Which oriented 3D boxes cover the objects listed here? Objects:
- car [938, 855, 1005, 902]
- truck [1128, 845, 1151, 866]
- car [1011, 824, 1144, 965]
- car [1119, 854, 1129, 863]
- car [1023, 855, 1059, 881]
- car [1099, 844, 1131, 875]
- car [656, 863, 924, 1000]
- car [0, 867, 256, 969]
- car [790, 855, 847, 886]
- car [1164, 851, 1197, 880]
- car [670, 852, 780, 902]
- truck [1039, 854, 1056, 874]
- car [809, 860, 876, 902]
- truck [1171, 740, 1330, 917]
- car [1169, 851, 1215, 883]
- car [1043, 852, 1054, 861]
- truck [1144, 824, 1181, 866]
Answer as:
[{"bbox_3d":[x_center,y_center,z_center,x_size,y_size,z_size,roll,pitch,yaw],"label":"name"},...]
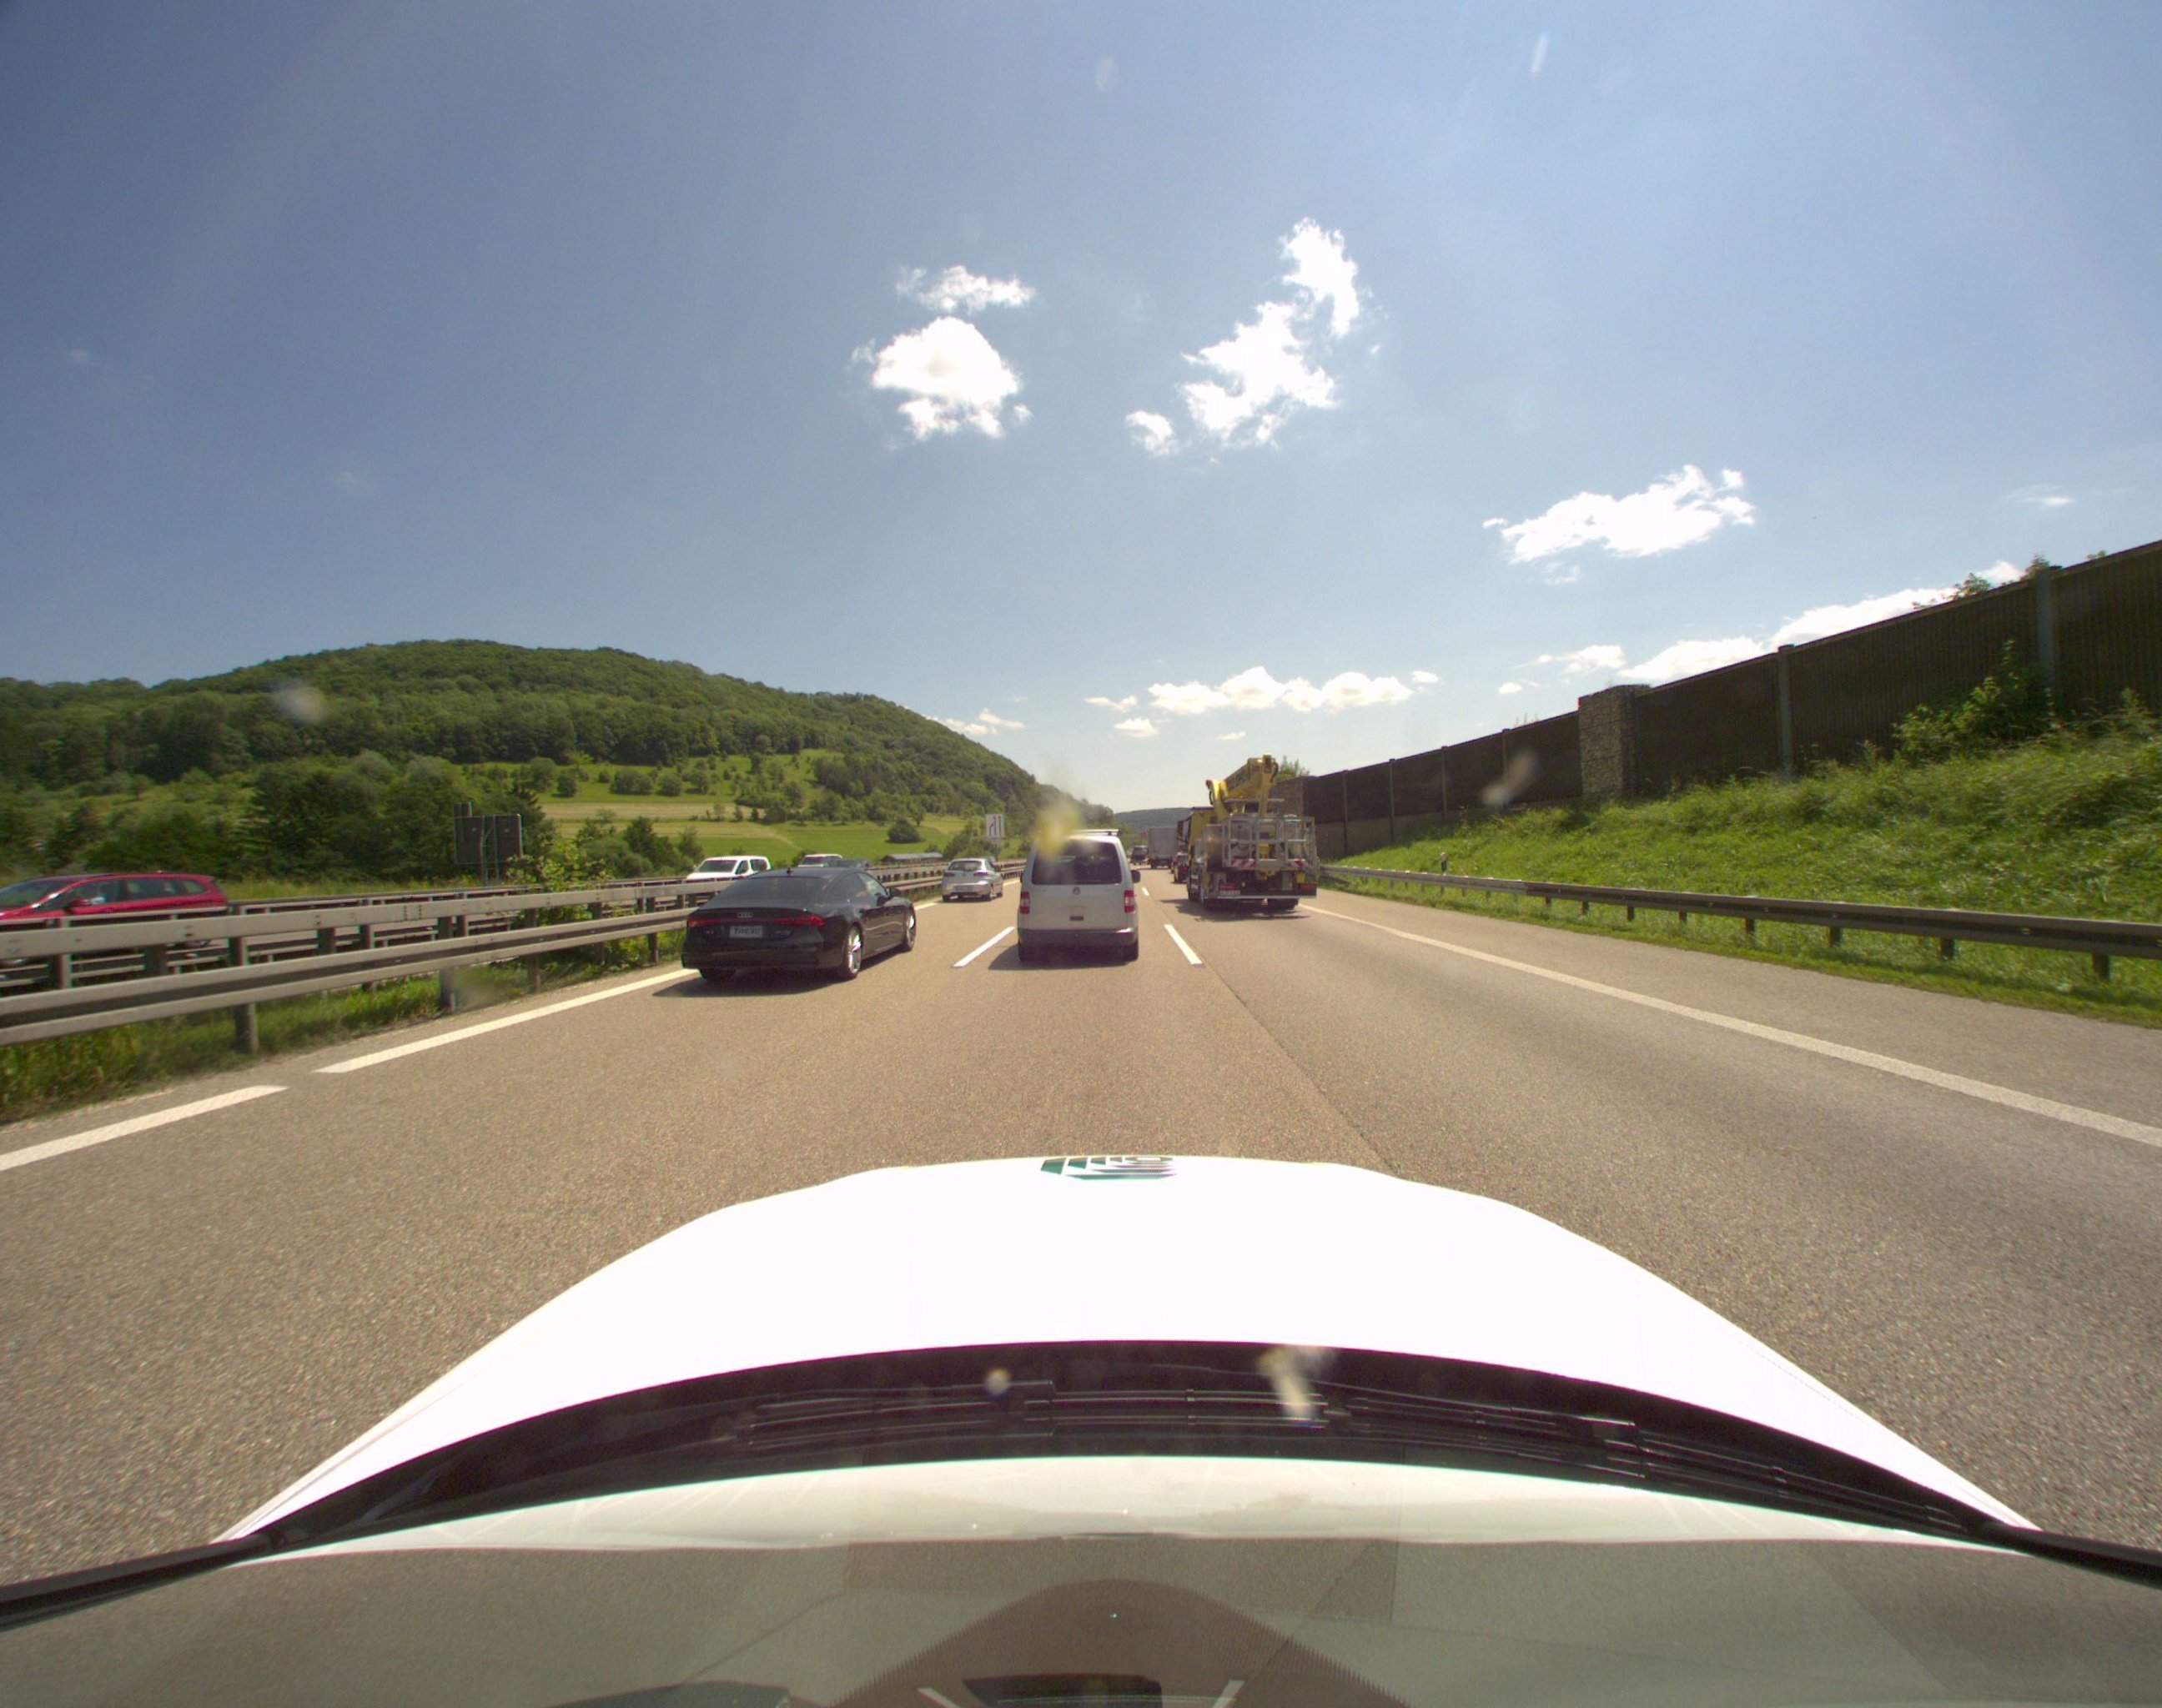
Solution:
[{"bbox_3d":[-3.687,0.797,28.089,1.690,1.445,3.863,-1,0,1],"label":"car"},{"bbox_3d":[7.392,0.203,102.414,2.377,2.541,5.952,-1,0,7],"label":"truck"},{"bbox_3d":[-0.018,0.546,13.036,1.750,1.868,4.000,-1,0,1],"label":"car"},{"bbox_3d":[8.849,0.992,167.603,1.986,1.805,4.002,0,-1,2],"label":"car"},{"bbox_3d":[-2.416,0.796,49.604,1.918,1.499,4.000,-1,0,1],"label":"car"},{"bbox_3d":[2.292,0.369,55.750,1.987,1.975,4.000,-1,0,1],"label":"car"},{"bbox_3d":[-3.633,0.866,11.306,1.794,1.390,4.971,-1,0,1],"label":"car"},{"bbox_3d":[-18.990,1.121,15.508,1.818,1.644,4.547,-1,0,2],"label":"car"},{"bbox_3d":[-17.253,1.040,53.709,2.052,1.941,4.662,-1,0,2],"label":"car"},{"bbox_3d":[7.237,0.813,59.544,1.986,2.013,4.002,-1,0,2],"label":"car"},{"bbox_3d":[-14.320,0.863,33.136,1.986,1.839,5.229,-1,0,2],"label":"car"},{"bbox_3d":[-7.041,2.164,173.196,2.786,4.232,7.238,0,-1,4],"label":"truck"},{"bbox_3d":[-10.747,1.170,36.992,1.749,1.762,3.936,-1,0,2],"label":"car"},{"bbox_3d":[4.332,-0.580,22.831,2.694,3.942,8.722,-1,0,1],"label":"truck"},{"bbox_3d":[5.479,0.621,40.484,1.780,1.458,3.771,-1,0,1],"label":"car"},{"bbox_3d":[-6.090,0.388,154.236,1.843,1.609,4.079,-1,0,1],"label":"car"},{"bbox_3d":[7.714,-0.802,78.145,2.929,3.823,8.240,0,-1,2],"label":"truck"}]
